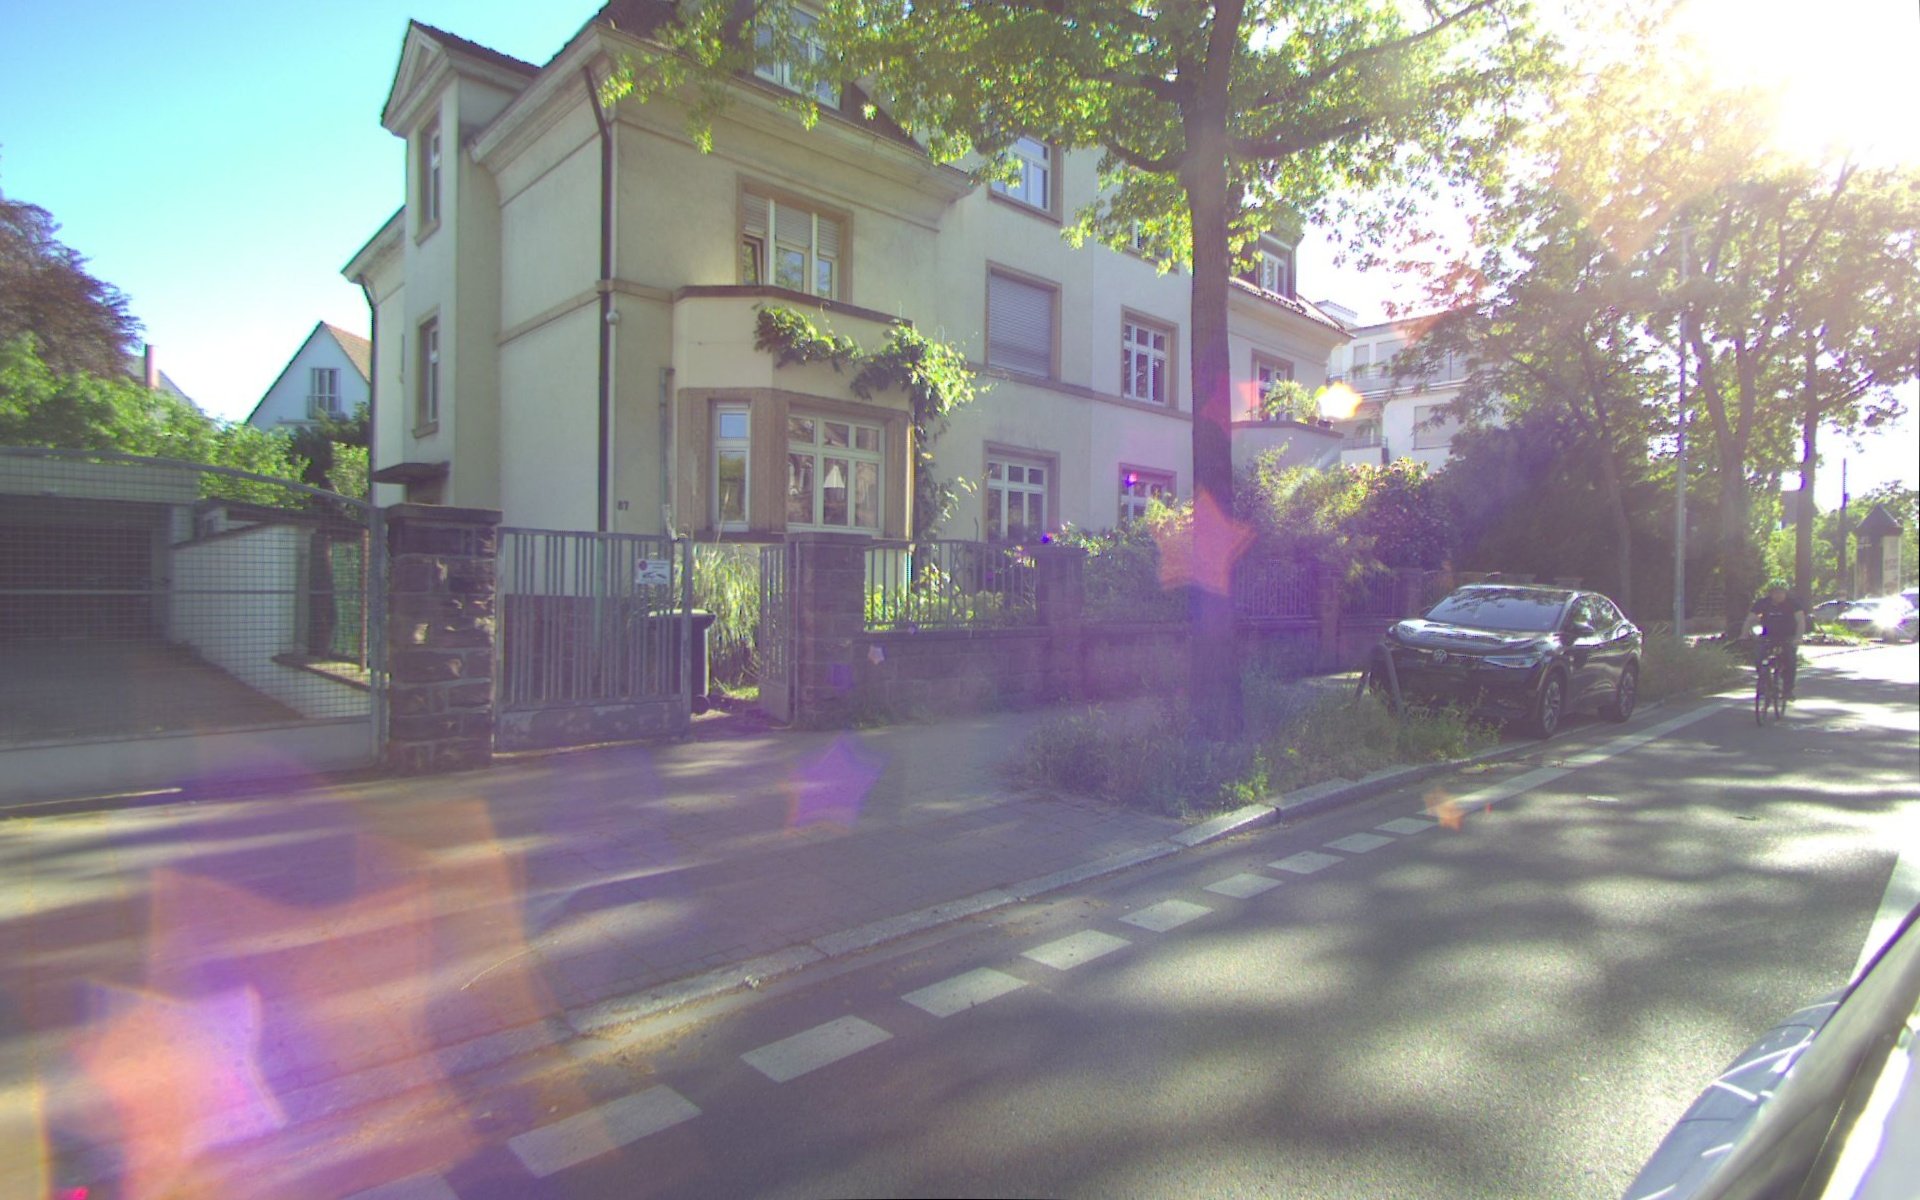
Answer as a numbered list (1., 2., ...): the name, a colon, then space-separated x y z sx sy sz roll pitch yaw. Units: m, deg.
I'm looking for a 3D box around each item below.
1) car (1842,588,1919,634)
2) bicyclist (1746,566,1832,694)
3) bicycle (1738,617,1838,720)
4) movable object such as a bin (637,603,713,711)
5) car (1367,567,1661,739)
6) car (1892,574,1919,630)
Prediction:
1. car: 31.549 0.343 34.421 3.930 1.469 1.785 0 1 -41
2. bicyclist: 10.254 0.342 12.508 1.095 1.506 0.645 0 0 -41
3. bicycle: 10.246 0.801 12.501 1.868 1.158 0.644 0 0 -41
4. movable object such as a bin: -3.069 0.574 10.849 0.697 1.070 1.093 0 0 -20
5. car: 6.698 0.499 12.069 4.021 1.626 1.743 0 4 -42
6. car: 36.784 0.056 38.083 4.503 2.039 1.997 0 1 -41
